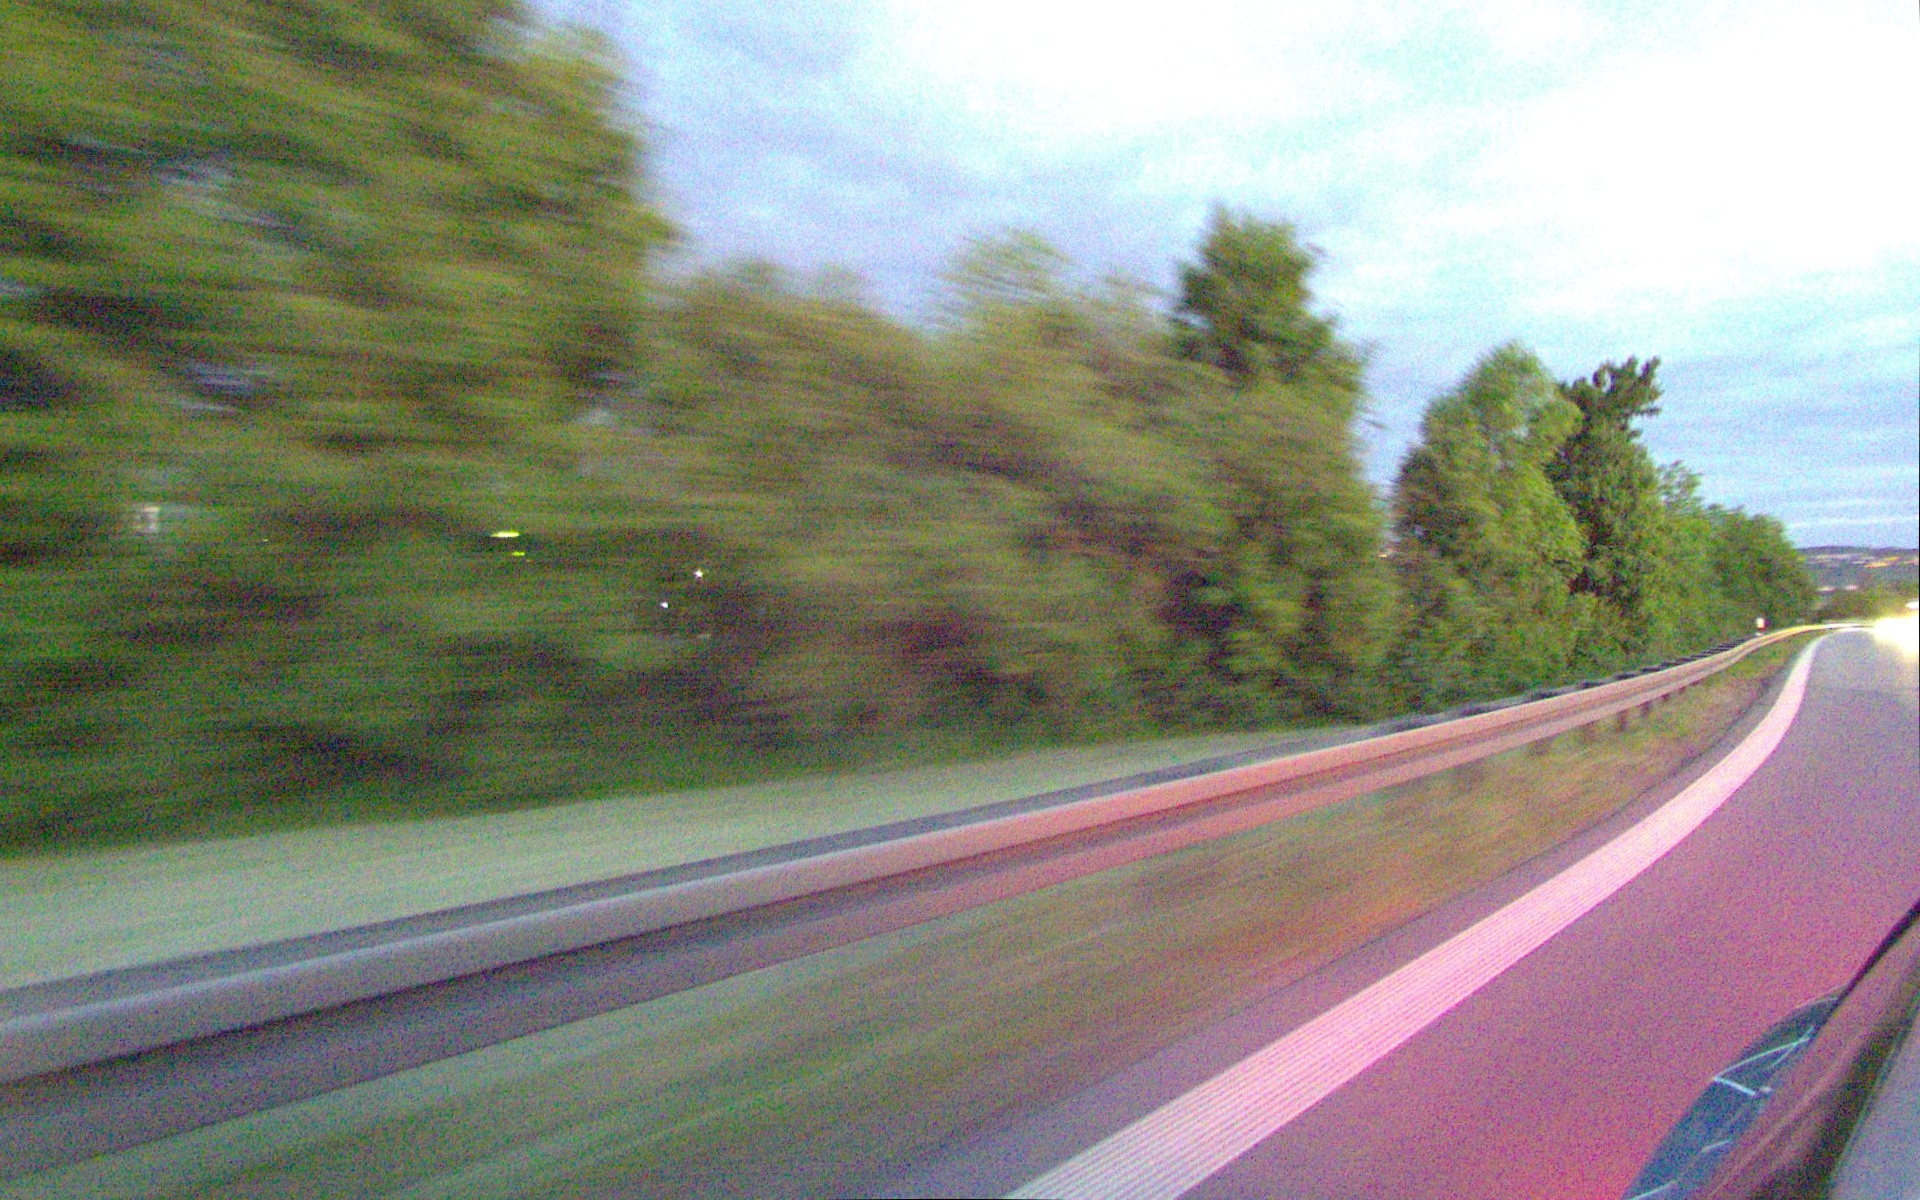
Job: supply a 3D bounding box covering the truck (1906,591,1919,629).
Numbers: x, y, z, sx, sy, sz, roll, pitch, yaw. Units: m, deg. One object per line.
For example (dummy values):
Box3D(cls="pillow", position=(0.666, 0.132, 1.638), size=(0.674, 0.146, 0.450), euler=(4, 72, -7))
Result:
Box3D(cls="truck", position=(115.488, 1.255, 120.878), size=(3.346, 4.372, 11.142), euler=(3, 1, 44))
